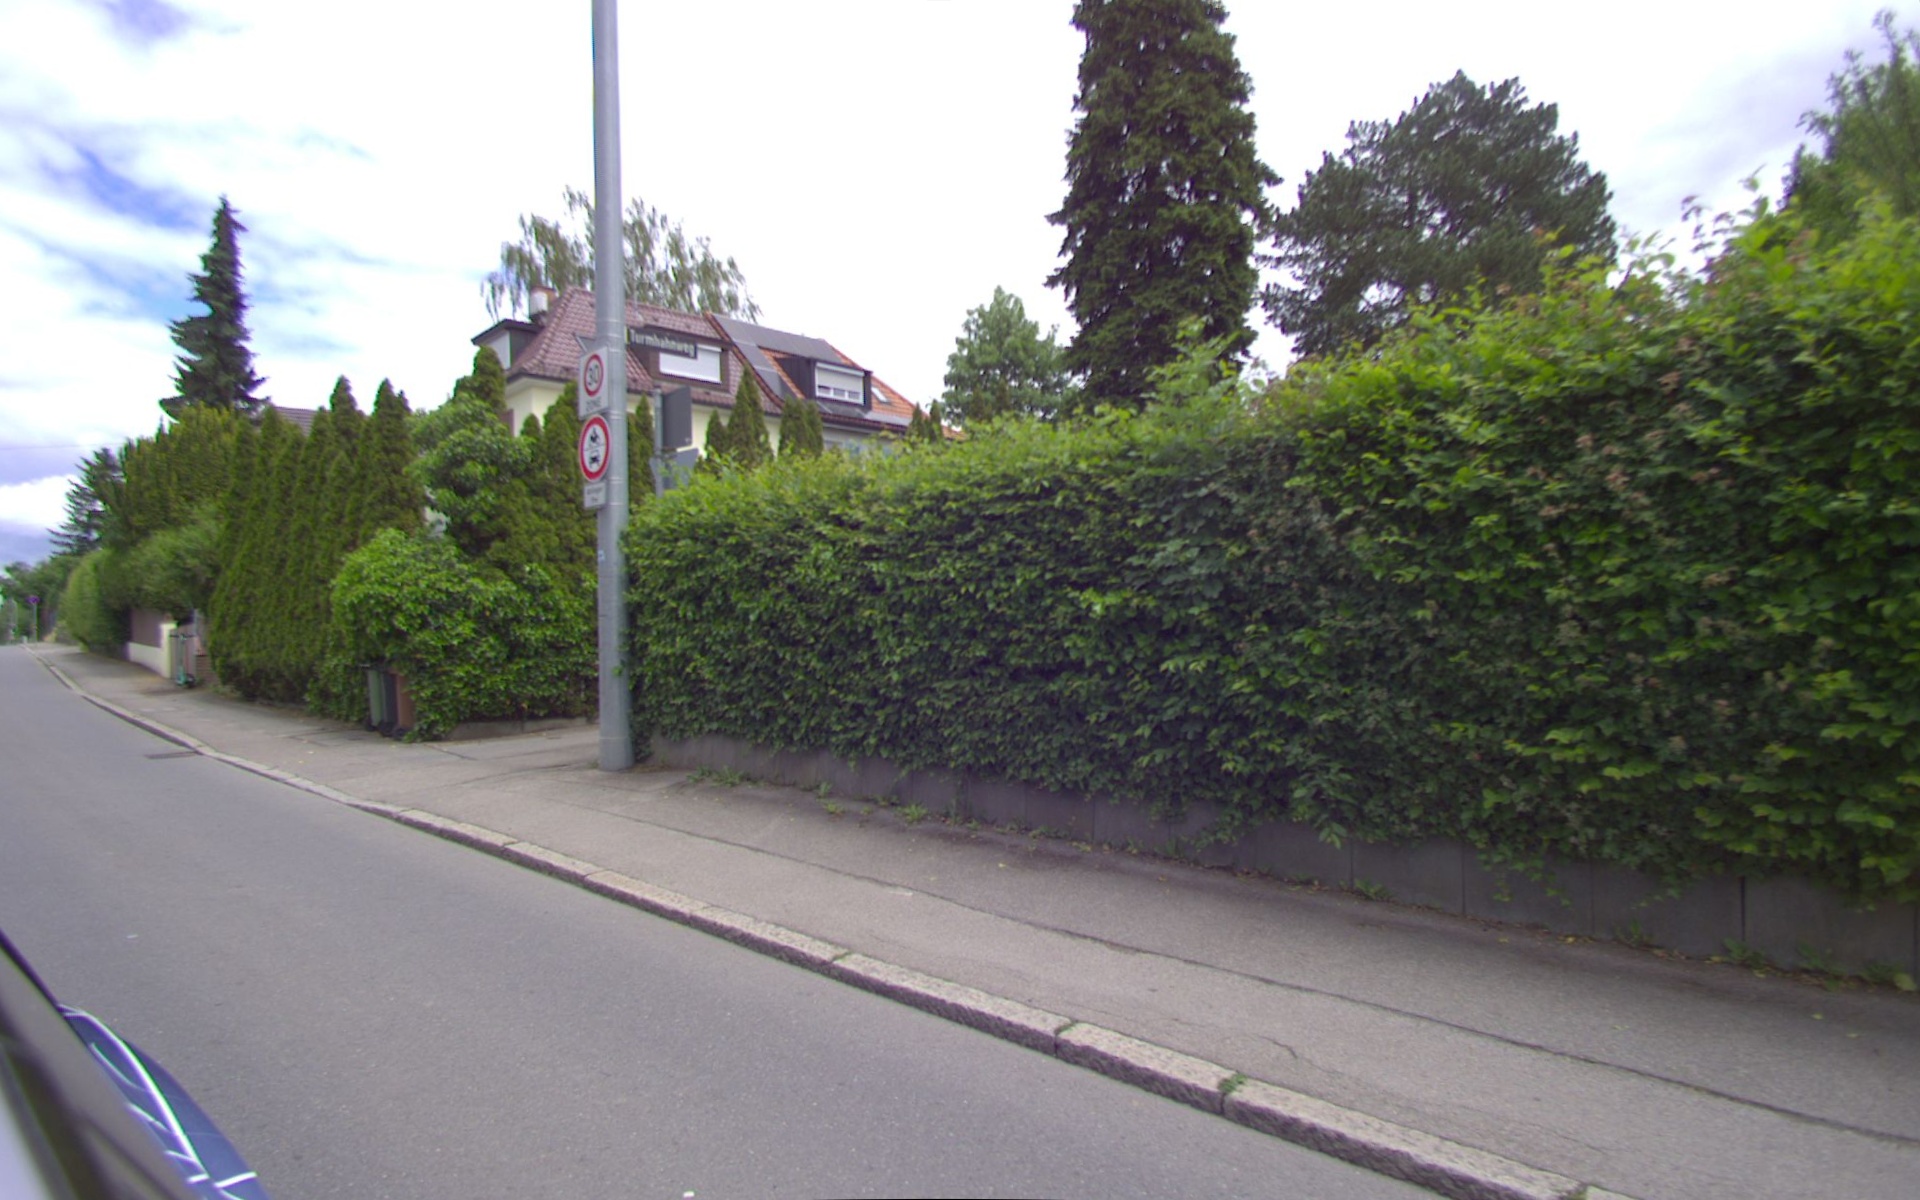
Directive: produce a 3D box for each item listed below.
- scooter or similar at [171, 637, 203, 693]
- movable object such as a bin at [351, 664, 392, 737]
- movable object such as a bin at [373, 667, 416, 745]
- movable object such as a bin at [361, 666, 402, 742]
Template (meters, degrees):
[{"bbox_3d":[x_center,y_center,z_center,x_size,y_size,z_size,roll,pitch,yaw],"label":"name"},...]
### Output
[{"bbox_3d":[-17.040,1.421,22.301,1.271,1.180,0.387,-2,-1,45],"label":"scooter or similar"},{"bbox_3d":[-7.700,1.308,13.240,0.332,0.900,0.476,-2,0,-44],"label":"movable object such as a bin"},{"bbox_3d":[-6.983,1.296,12.487,0.332,0.900,0.476,-2,0,-44],"label":"movable object such as a bin"},{"bbox_3d":[-7.344,1.307,12.848,0.332,0.900,0.476,-2,0,-44],"label":"movable object such as a bin"}]
